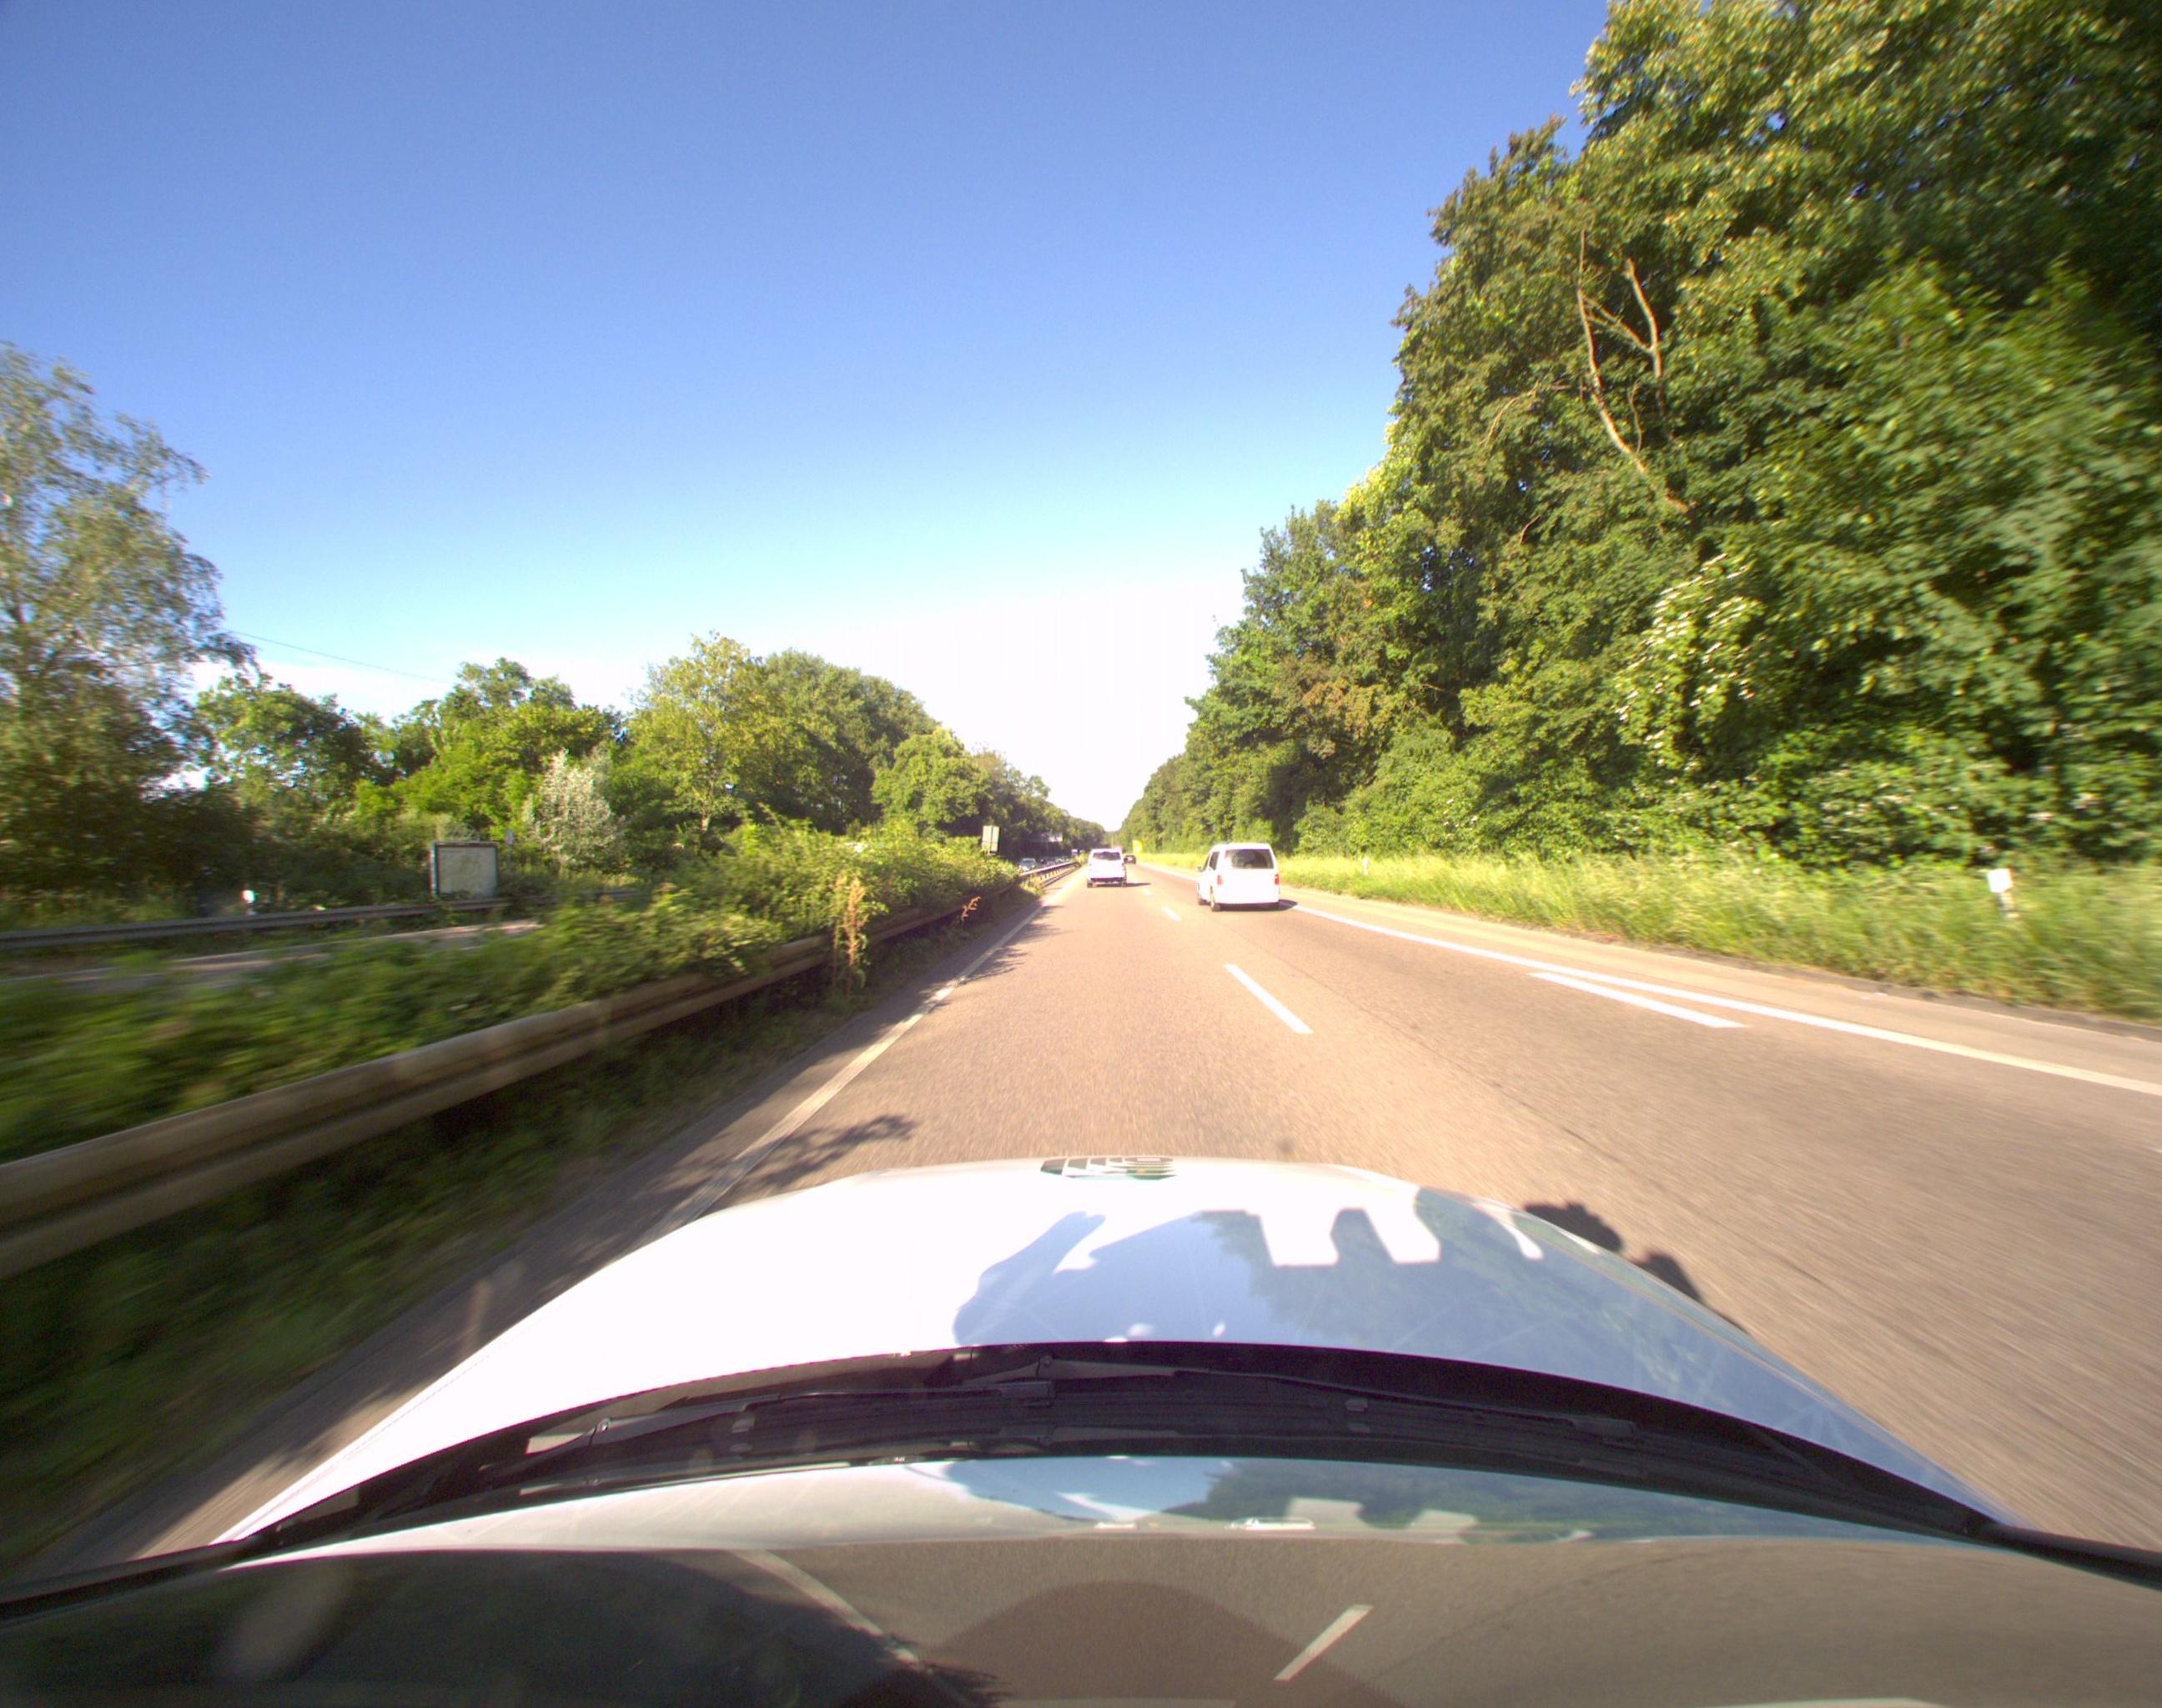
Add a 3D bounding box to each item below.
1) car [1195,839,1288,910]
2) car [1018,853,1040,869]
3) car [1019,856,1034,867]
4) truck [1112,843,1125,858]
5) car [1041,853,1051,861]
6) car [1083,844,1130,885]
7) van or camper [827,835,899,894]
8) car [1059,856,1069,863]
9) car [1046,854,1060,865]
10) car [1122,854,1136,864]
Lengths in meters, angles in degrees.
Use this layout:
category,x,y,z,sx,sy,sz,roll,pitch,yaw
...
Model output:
category,x,y,z,sx,sy,sz,roll,pitch,yaw
car,4.353,0.510,22.737,1.856,1.770,4.472,-1,0,2
car,-5.522,0.747,87.104,1.953,1.540,4.466,-2,0,1
car,-8.236,1.166,123.168,1.829,1.540,4.431,-1,0,1
truck,10.996,-1.063,238.672,3.483,4.172,8.864,-2,0,1
car,-7.379,0.634,172.125,1.712,1.445,4.229,-2,0,1
car,1.160,0.463,38.728,2.079,1.828,3.999,-1,0,0
van or camper,-10.933,0.476,41.260,1.986,2.722,5.256,-2,0,2
car,-3.655,1.147,175.966,1.829,1.357,4.475,-1,0,1
car,-4.405,0.872,127.457,1.870,1.540,4.466,-2,0,1
car,7.315,0.743,123.390,1.986,1.398,4.001,-1,-1,1
